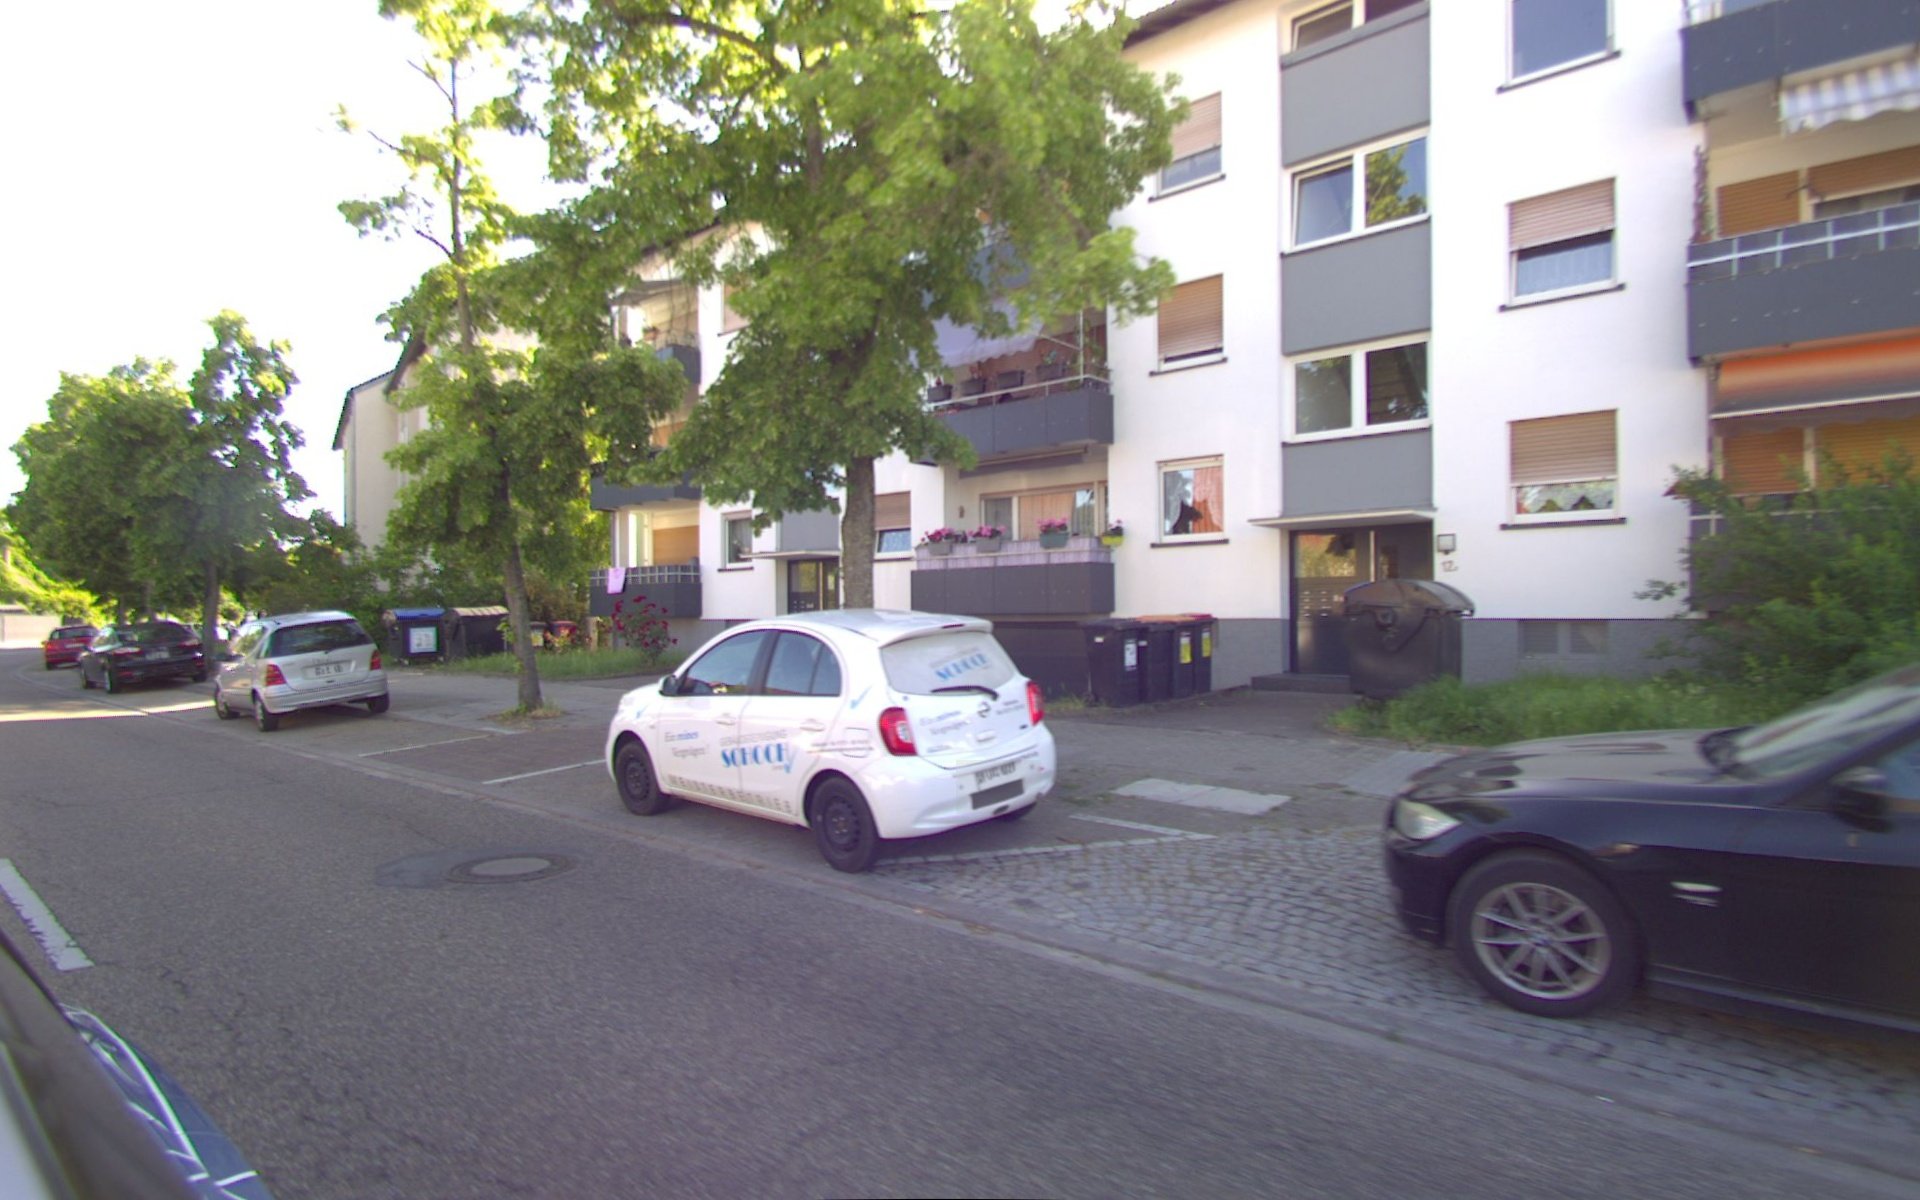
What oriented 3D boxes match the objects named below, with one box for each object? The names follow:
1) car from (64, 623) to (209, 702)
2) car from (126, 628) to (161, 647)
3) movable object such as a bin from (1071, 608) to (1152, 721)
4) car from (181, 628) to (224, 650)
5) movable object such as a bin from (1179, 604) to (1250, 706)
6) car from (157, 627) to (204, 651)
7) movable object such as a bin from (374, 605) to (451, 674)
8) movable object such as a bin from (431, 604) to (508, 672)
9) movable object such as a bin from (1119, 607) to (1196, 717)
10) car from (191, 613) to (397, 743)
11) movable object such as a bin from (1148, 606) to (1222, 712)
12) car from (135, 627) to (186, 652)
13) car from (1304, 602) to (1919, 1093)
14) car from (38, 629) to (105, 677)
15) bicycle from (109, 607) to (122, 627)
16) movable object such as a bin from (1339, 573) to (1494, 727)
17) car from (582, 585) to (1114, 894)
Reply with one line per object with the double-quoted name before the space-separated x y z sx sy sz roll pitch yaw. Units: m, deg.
"car" -19.332 1.402 23.693 4.539 1.504 1.705 -2 4 40
"car" -72.327 3.331 89.695 1.613 1.590 3.715 0 -2 -27
"movable object such as a bin" 1.799 0.742 12.019 0.672 1.289 0.679 -2 -2 44
"car" -54.726 2.796 73.146 1.624 1.551 3.716 0 -2 -23
"movable object such as a bin" 3.350 0.707 13.317 0.672 1.289 0.631 -2 -2 44
"car" -52.852 2.622 68.683 1.624 1.551 3.716 0 -2 -23
"movable object such as a bin" -13.754 0.975 25.423 1.267 1.675 1.397 -2 -2 43
"movable object such as a bin" -11.706 0.891 24.161 1.327 1.555 1.276 -2 -2 43
"movable object such as a bin" 2.411 0.735 12.353 0.672 1.289 0.631 -2 -2 44
"car" -10.376 1.096 15.664 3.909 1.604 1.703 -1 4 43
"movable object such as a bin" 2.851 0.727 12.835 0.672 1.289 0.631 -2 -2 44
"car" -51.214 2.507 64.888 1.624 1.551 3.716 0 -2 -23
"car" 3.624 0.754 3.504 4.314 1.446 1.591 -2 1 44
"car" -31.913 1.873 36.409 1.637 1.505 3.915 -4 1 -40
"bicycle" -45.511 0.904 54.536 0.352 1.015 1.203 -1 -2 -31
"movable object such as a bin" 4.782 0.495 10.592 1.116 1.494 1.217 -2 -2 44
"car" -1.004 0.775 7.352 3.907 1.577 1.674 -2 2 44
